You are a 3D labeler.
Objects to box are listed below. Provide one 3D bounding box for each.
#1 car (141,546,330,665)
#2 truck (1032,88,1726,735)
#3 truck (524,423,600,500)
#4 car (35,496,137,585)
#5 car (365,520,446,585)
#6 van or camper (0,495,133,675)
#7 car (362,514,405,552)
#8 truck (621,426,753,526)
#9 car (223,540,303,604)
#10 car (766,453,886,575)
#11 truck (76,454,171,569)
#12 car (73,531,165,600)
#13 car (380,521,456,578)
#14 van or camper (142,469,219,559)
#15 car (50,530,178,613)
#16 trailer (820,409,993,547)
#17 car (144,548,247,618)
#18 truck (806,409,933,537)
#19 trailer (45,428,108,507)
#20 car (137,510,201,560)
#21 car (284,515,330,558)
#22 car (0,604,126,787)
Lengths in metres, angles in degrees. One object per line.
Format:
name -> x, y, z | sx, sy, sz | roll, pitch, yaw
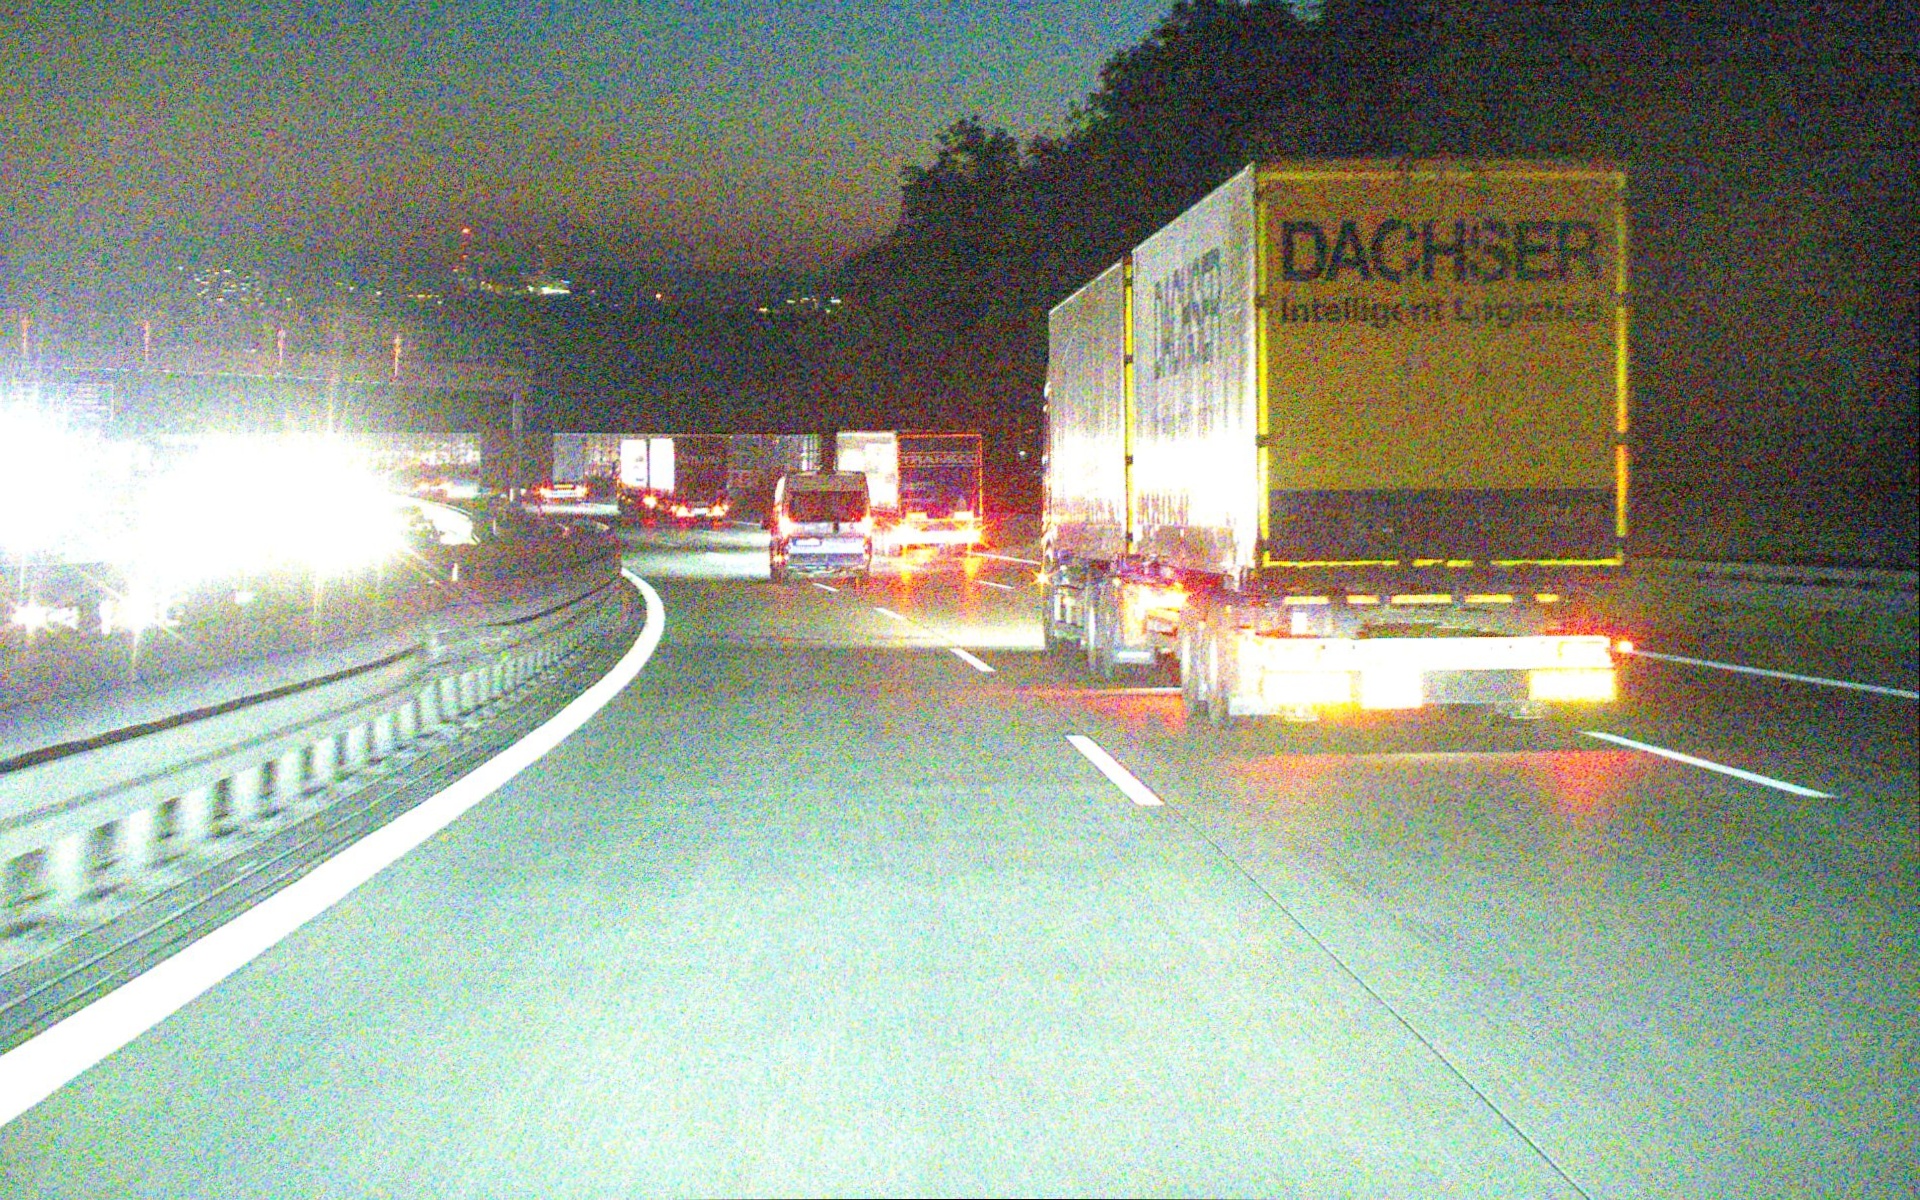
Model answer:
car -> -9.535, 0.035, 45.549 | 1.833, 1.446, 4.506 | -1, 1, -4
truck -> 2.932, -1.419, 31.765 | 3.482, 4.120, 18.711 | 1, 1, -2
truck -> -24.637, -8.542, 212.030 | 3.343, 4.460, 13.915 | 2, 2, -11
car -> -20.379, -1.425, 80.358 | 1.993, 1.953, 4.989 | -2, 2, -11
car -> -12.900, -1.119, 80.131 | 1.754, 1.350, 4.636 | -1, 3, -8
van or camper -> -14.453, -0.300, 53.172 | 2.255, 2.586, 6.688 | -2, 2, -6
car -> -20.551, -2.393, 122.546 | 1.418, 1.252, 3.130 | -1, 3, -11
truck -> -13.909, -6.271, 172.916 | 3.914, 4.611, 21.026 | 2, 2, -12
car -> -19.530, -0.810, 96.420 | 1.993, 1.654, 4.455 | -1, 2, -9
car -> -3.002, -1.927, 77.917 | 2.337, 2.631, 5.247 | 1, 1, 2
truck -> -25.096, -2.664, 103.340 | 2.375, 3.248, 7.726 | -2, 2, -11
car -> -22.652, -0.954, 92.706 | 1.861, 1.694, 4.394 | -2, 2, -7
car -> -13.778, -1.302, 87.537 | 1.754, 1.350, 4.293 | -1, 2, -7
van or camper -> -27.384, -3.077, 120.967 | 2.221, 2.993, 7.127 | -1, 3, -10
car -> -15.934, -0.550, 64.903 | 1.748, 1.447, 3.842 | -2, 1, -5
trailer -> -1.830, -3.931, 107.846 | 2.853, 4.053, 13.211 | -1, 3, -12
car -> -16.970, -0.401, 76.447 | 1.606, 1.474, 4.075 | -1, 1, -4
truck -> -3.048, -4.235, 113.423 | 2.861, 4.062, 7.514 | -1, 3, -12
trailer -> -49.568, -7.464, 192.665 | 2.839, 4.157, 13.290 | -3, 3, -16
car -> -25.729, -2.133, 111.853 | 1.640, 1.534, 4.439 | -1, 2, -8
car -> -24.680, -2.410, 129.899 | 1.640, 1.534, 4.001 | -1, 2, -11
car -> -8.939, 0.825, 31.385 | 1.819, 1.446, 4.506 | -1, 1, -4
